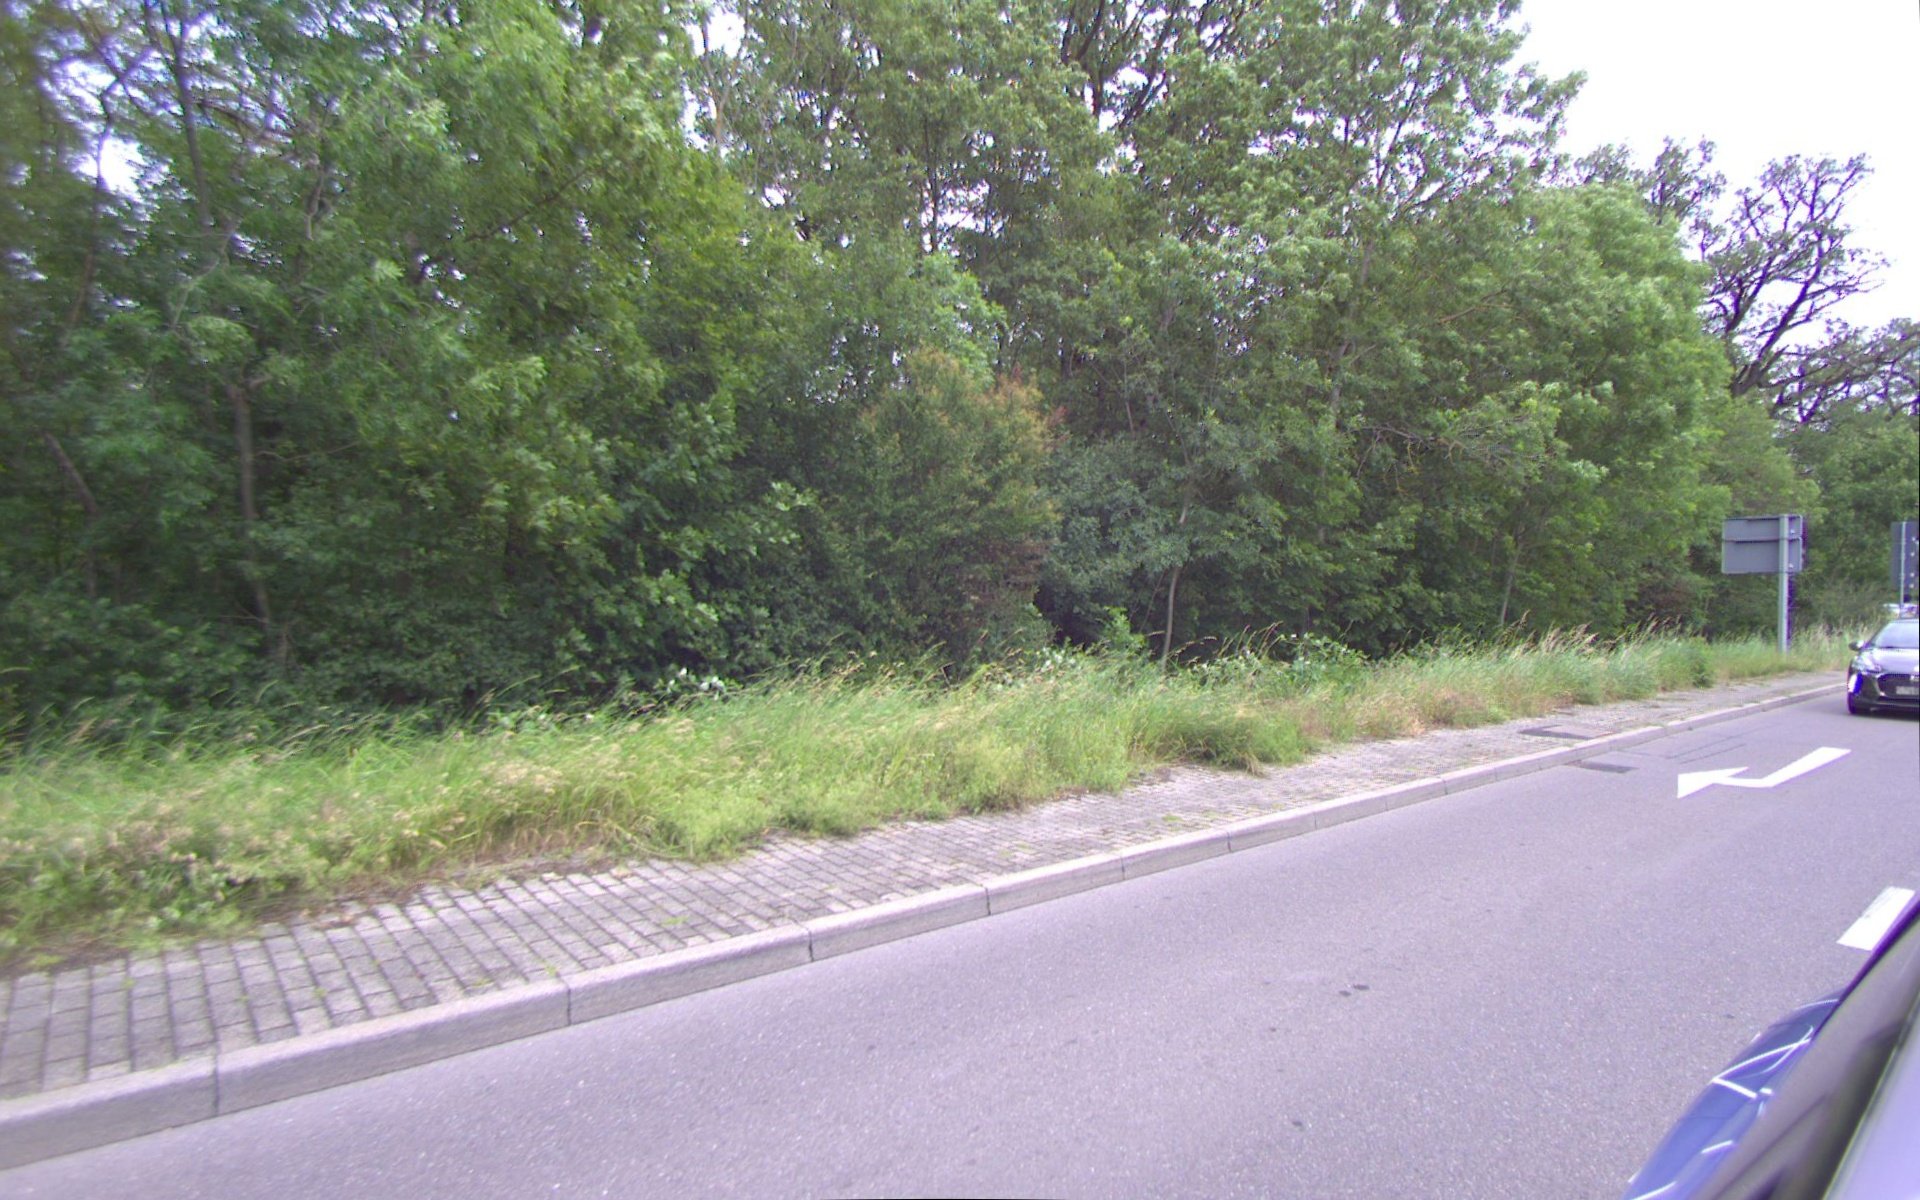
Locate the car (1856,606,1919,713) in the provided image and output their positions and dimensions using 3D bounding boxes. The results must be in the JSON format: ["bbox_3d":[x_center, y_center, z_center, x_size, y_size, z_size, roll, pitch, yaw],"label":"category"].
[{"bbox_3d":[14.943,0.842,15.161,3.786,1.476,1.729,0,0,-40],"label":"car"}]
